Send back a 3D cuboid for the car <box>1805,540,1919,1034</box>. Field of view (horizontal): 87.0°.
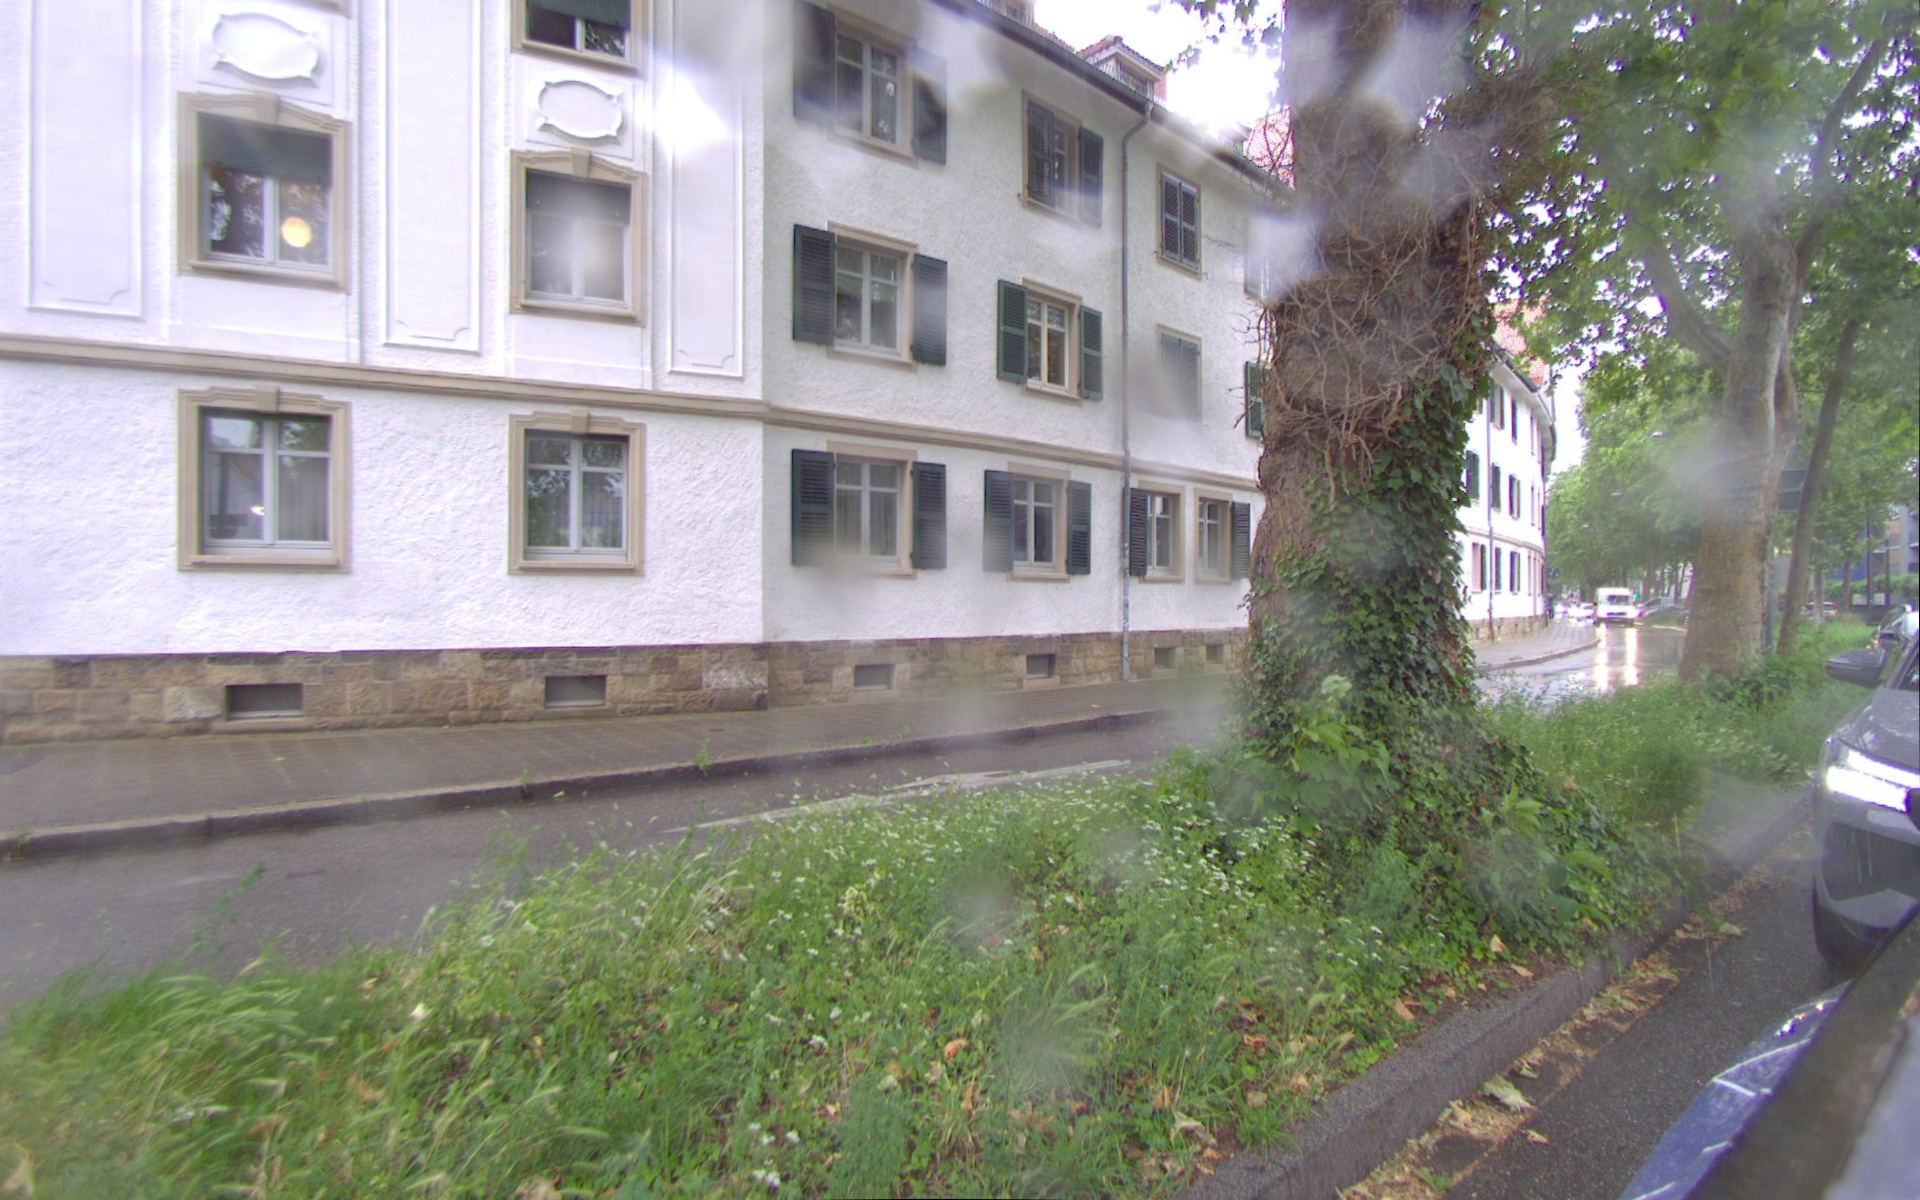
[{"bbox_3d":[5.140,0.618,4.317,4.039,1.662,1.913,0,0,-44],"label":"car"}]

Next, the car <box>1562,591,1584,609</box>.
[{"bbox_3d":[77.451,0.015,127.842,1.983,2.038,3.961,5,3,28],"label":"car"}]

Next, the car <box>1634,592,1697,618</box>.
[{"bbox_3d":[55.909,0.393,80.298,3.969,2.039,1.977,0,-1,32],"label":"car"}]

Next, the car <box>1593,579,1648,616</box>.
[{"bbox_3d":[42.929,-0.142,65.935,2.173,2.292,5.366,0,0,24],"label":"car"}]

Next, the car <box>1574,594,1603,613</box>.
[{"bbox_3d":[51.758,0.278,83.447,1.816,1.545,3.959,0,0,29],"label":"car"}]

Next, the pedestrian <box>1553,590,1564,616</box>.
[{"bbox_3d":[42.114,0.221,71.254,0.668,1.845,0.672,0,0,31],"label":"pedestrian"}]

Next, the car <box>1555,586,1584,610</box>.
[{"bbox_3d":[57.605,-0.232,95.689,1.983,2.038,3.961,5,3,28],"label":"car"}]
